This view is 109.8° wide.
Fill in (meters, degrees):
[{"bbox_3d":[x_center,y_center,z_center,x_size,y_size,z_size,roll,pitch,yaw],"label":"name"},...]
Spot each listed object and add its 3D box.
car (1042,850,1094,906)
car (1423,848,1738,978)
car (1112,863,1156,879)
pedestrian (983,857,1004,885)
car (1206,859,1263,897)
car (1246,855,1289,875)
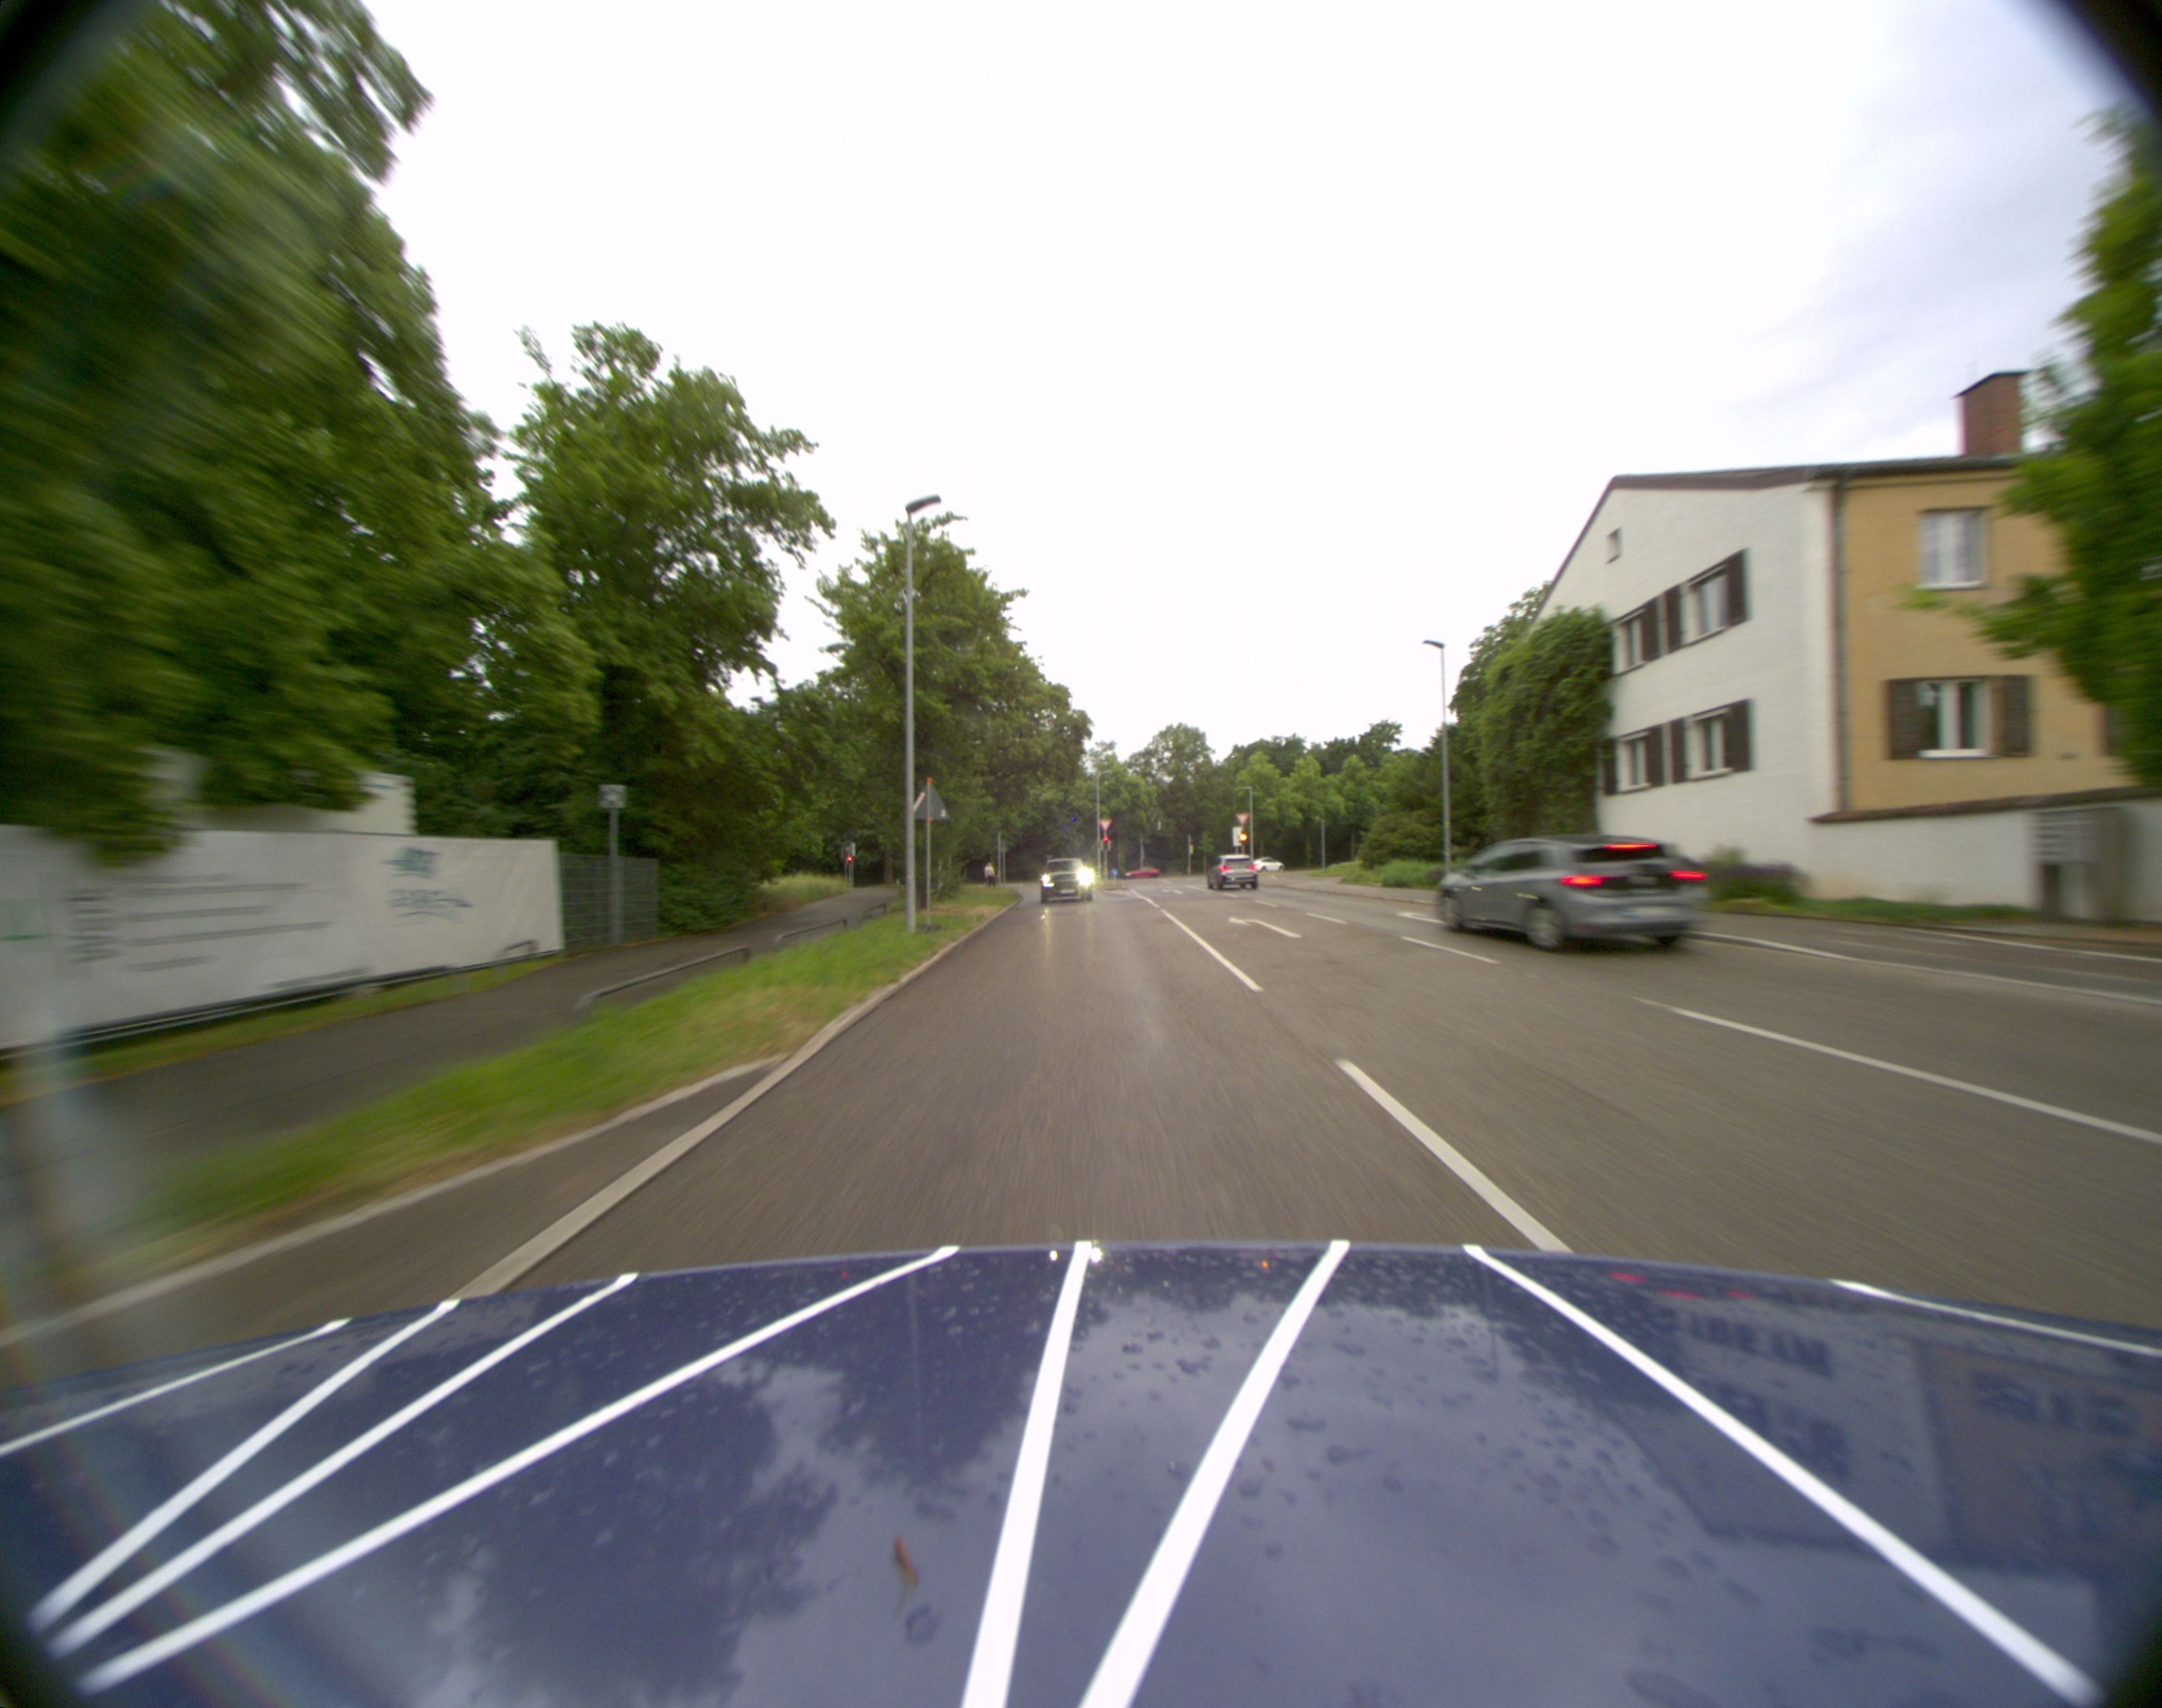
[{"bbox_3d":[-0.499,0.864,30.427,1.848,1.961,4.343,-2,1,-1],"label":"car"},{"bbox_3d":[7.040,0.702,11.410,1.887,1.449,4.469,-2,1,2],"label":"car"},{"bbox_3d":[5.871,1.849,83.539,4.348,1.506,1.996,-3,1,-23],"label":"car"},{"bbox_3d":[-5.429,1.075,47.293,1.019,1.711,0.746,-1,2,43],"label":"pedestrian"},{"bbox_3d":[7.218,1.096,36.064,1.924,1.618,4.345,-2,-1,2],"label":"car"},{"bbox_3d":[18.993,1.137,77.288,4.352,1.755,1.994,-3,2,-42],"label":"car"}]
